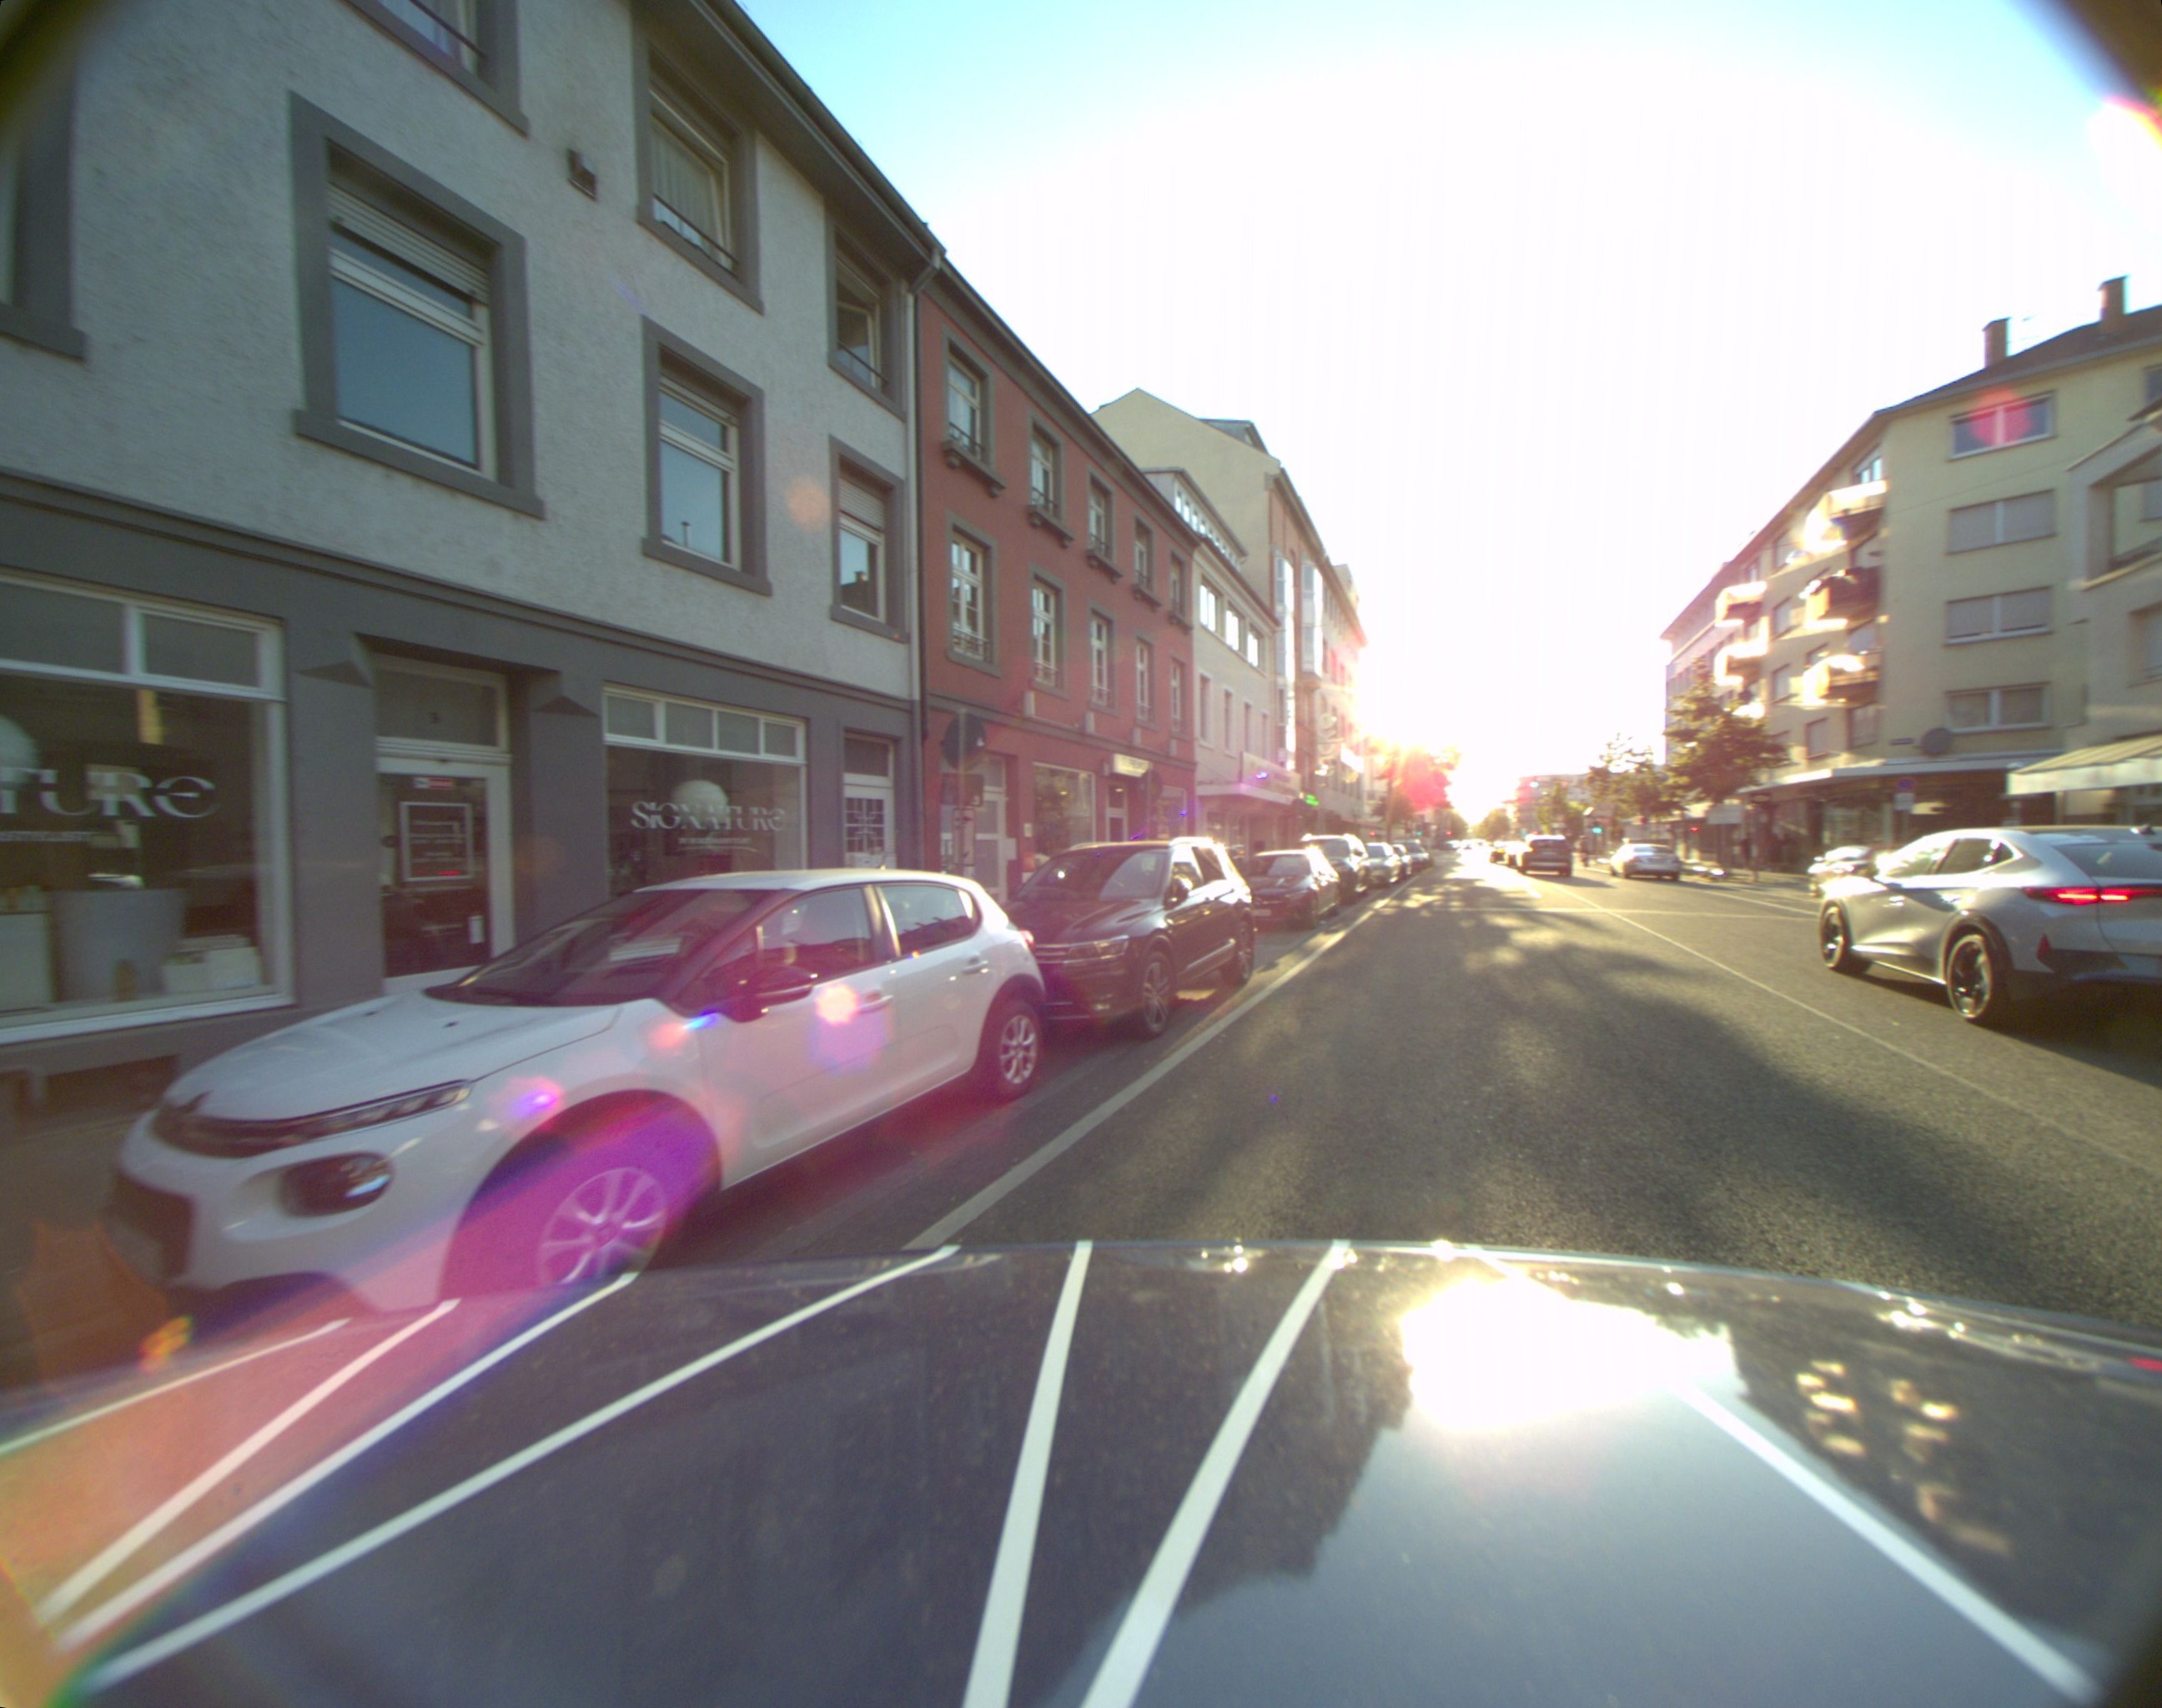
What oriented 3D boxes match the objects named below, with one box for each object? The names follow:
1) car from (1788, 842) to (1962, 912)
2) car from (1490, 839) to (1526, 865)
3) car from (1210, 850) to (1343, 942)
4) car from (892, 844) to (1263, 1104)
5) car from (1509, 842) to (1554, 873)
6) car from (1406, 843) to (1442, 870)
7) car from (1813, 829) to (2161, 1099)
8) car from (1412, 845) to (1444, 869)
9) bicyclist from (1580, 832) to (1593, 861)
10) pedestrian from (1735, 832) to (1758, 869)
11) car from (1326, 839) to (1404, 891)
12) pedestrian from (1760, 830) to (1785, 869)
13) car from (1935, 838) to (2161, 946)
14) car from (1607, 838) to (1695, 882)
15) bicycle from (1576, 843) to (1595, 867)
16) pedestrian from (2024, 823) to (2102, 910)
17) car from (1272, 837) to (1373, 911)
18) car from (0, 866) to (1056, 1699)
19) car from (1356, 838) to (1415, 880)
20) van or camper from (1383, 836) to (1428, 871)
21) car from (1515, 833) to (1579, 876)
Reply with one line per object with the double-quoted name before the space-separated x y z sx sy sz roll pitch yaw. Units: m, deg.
"car" 20.168 0.504 19.526 1.790 1.571 3.793 0 2 25
"car" 29.692 -0.162 52.895 1.839 1.639 4.307 2 2 25
"car" 4.077 0.745 15.301 1.686 1.479 4.418 -3 0 26
"car" 0.365 0.813 7.483 1.795 1.688 4.467 -2 0 26
"car" 25.755 0.155 43.552 1.839 1.639 4.307 2 2 26
"car" 20.480 0.089 45.266 1.691 1.494 3.793 0 2 28
"car" 8.237 0.658 6.388 1.874 1.688 4.329 2 2 29
"car" 22.848 0.162 49.986 1.691 1.494 3.793 0 2 28
"bicyclist" 27.206 -0.411 40.884 0.547 1.572 0.804 0 2 30
"pedestrian" 32.297 -0.177 36.876 0.718 1.781 0.668 0 2 27
"car" 10.143 0.344 26.897 1.995 1.645 4.635 -1 1 27
"pedestrian" 31.621 -0.210 34.746 0.718 1.781 0.668 0 2 27
"car" 16.965 0.534 12.953 1.790 1.571 3.793 0 2 25
"car" 22.965 0.174 30.821 1.995 1.595 4.412 1 2 26
"bicycle" 27.218 0.035 41.004 0.663 1.236 2.134 2 3 30
"pedestrian" 20.010 0.237 15.500 0.718 1.724 0.739 -1 2 26
"car" 6.853 0.452 21.149 1.995 1.767 5.327 -1 1 25
"car" -1.841 0.934 3.679 1.663 1.564 3.941 -2 1 27
"car" 13.021 0.161 32.354 1.995 1.646 4.487 0 1 26
"van or camper" 17.413 -0.069 40.627 1.789 1.764 4.565 0 2 28
"car" 19.873 -0.044 32.572 1.839 1.639 4.307 2 2 25
